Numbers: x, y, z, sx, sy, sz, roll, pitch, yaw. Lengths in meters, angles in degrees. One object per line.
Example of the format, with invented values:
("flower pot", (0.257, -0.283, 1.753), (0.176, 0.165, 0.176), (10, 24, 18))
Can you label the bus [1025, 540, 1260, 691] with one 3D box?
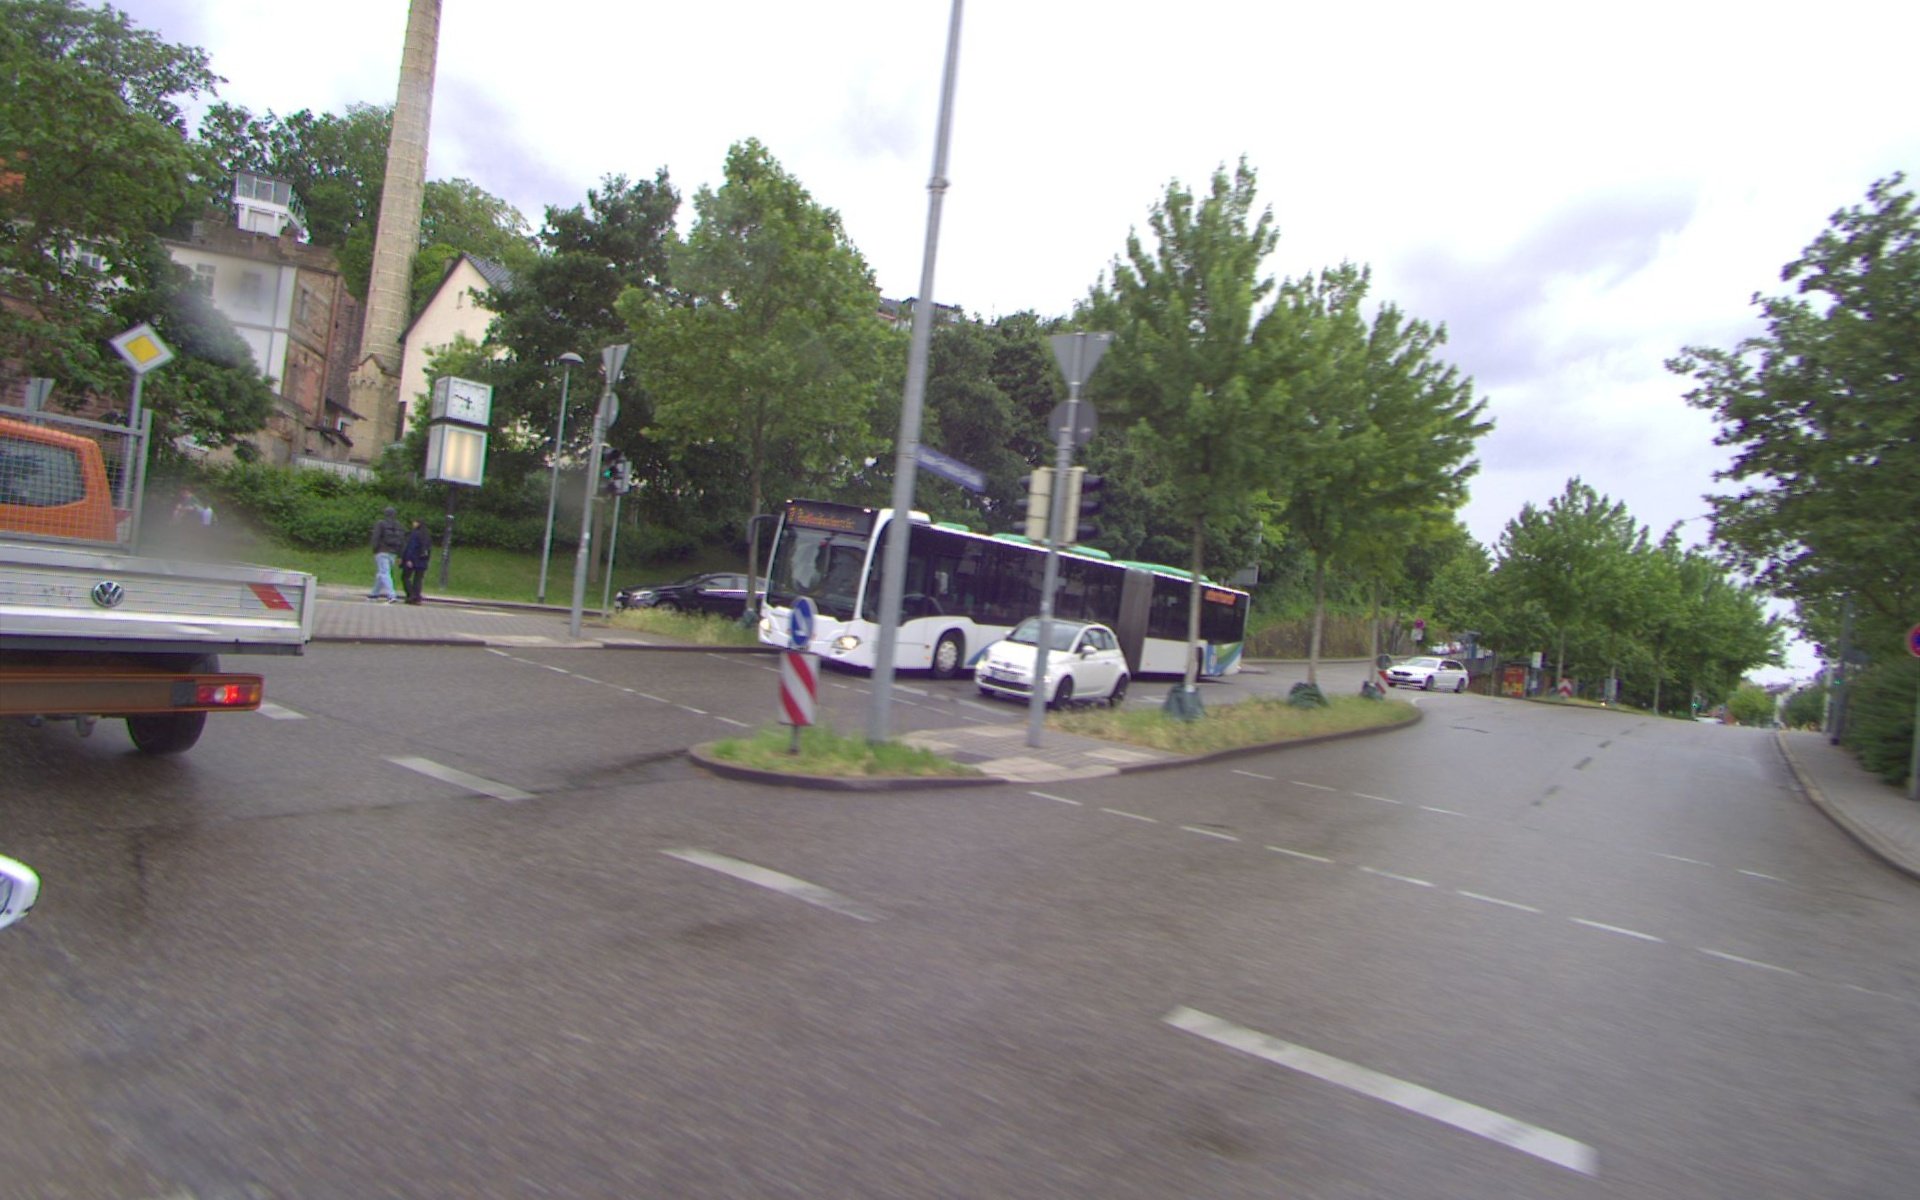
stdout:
("bus", (5.446, 0.632, 28.366), (2.647, 3.218, 8.534), (7, -1, 37))

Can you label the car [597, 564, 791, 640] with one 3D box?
("car", (-6.328, 0.071, 24.120), (4.060, 1.391, 1.778), (6, -1, -36))

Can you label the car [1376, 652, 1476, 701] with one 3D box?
("car", (20.797, 3.424, 44.859), (4.837, 1.672, 1.979), (8, -2, -38))

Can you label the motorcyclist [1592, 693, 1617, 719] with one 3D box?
("motorcyclist", (39.400, 6.483, 61.516), (1.231, 1.454, 0.798), (7, -1, -38))

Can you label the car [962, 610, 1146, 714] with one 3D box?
("car", (1.755, 1.152, 17.821), (1.565, 1.468, 3.561), (7, -1, 35))

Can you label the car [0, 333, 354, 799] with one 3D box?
("car", (-6.566, -0.292, 6.279), (5.446, 2.112, 2.108), (5, -3, 28))

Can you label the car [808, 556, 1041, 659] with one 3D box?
("car", (-0.878, 0.263, 28.370), (6.286, 2.261, 2.233), (6, -1, -37))

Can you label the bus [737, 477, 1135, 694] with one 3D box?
("bus", (0.098, 0.025, 21.085), (2.664, 3.254, 9.631), (7, -1, 37))

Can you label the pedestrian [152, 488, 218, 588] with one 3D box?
("pedestrian", (-15.269, -1.213, 19.836), (0.683, 1.854, 0.740), (5, 2, -15))

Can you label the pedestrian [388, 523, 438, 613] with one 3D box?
("pedestrian", (-10.996, -0.645, 20.233), (0.520, 1.727, 0.556), (7, 2, 32))

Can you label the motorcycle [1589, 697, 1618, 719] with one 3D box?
("motorcycle", (39.321, 6.610, 61.439), (2.668, 1.132, 0.565), (8, -1, -39))

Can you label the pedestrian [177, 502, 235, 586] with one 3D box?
("pedestrian", (-15.392, -1.137, 20.549), (0.695, 1.620, 0.600), (5, 2, -14))

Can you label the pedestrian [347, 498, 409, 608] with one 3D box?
("pedestrian", (-11.364, -0.903, 19.650), (0.775, 2.039, 0.586), (6, 1, -18))
